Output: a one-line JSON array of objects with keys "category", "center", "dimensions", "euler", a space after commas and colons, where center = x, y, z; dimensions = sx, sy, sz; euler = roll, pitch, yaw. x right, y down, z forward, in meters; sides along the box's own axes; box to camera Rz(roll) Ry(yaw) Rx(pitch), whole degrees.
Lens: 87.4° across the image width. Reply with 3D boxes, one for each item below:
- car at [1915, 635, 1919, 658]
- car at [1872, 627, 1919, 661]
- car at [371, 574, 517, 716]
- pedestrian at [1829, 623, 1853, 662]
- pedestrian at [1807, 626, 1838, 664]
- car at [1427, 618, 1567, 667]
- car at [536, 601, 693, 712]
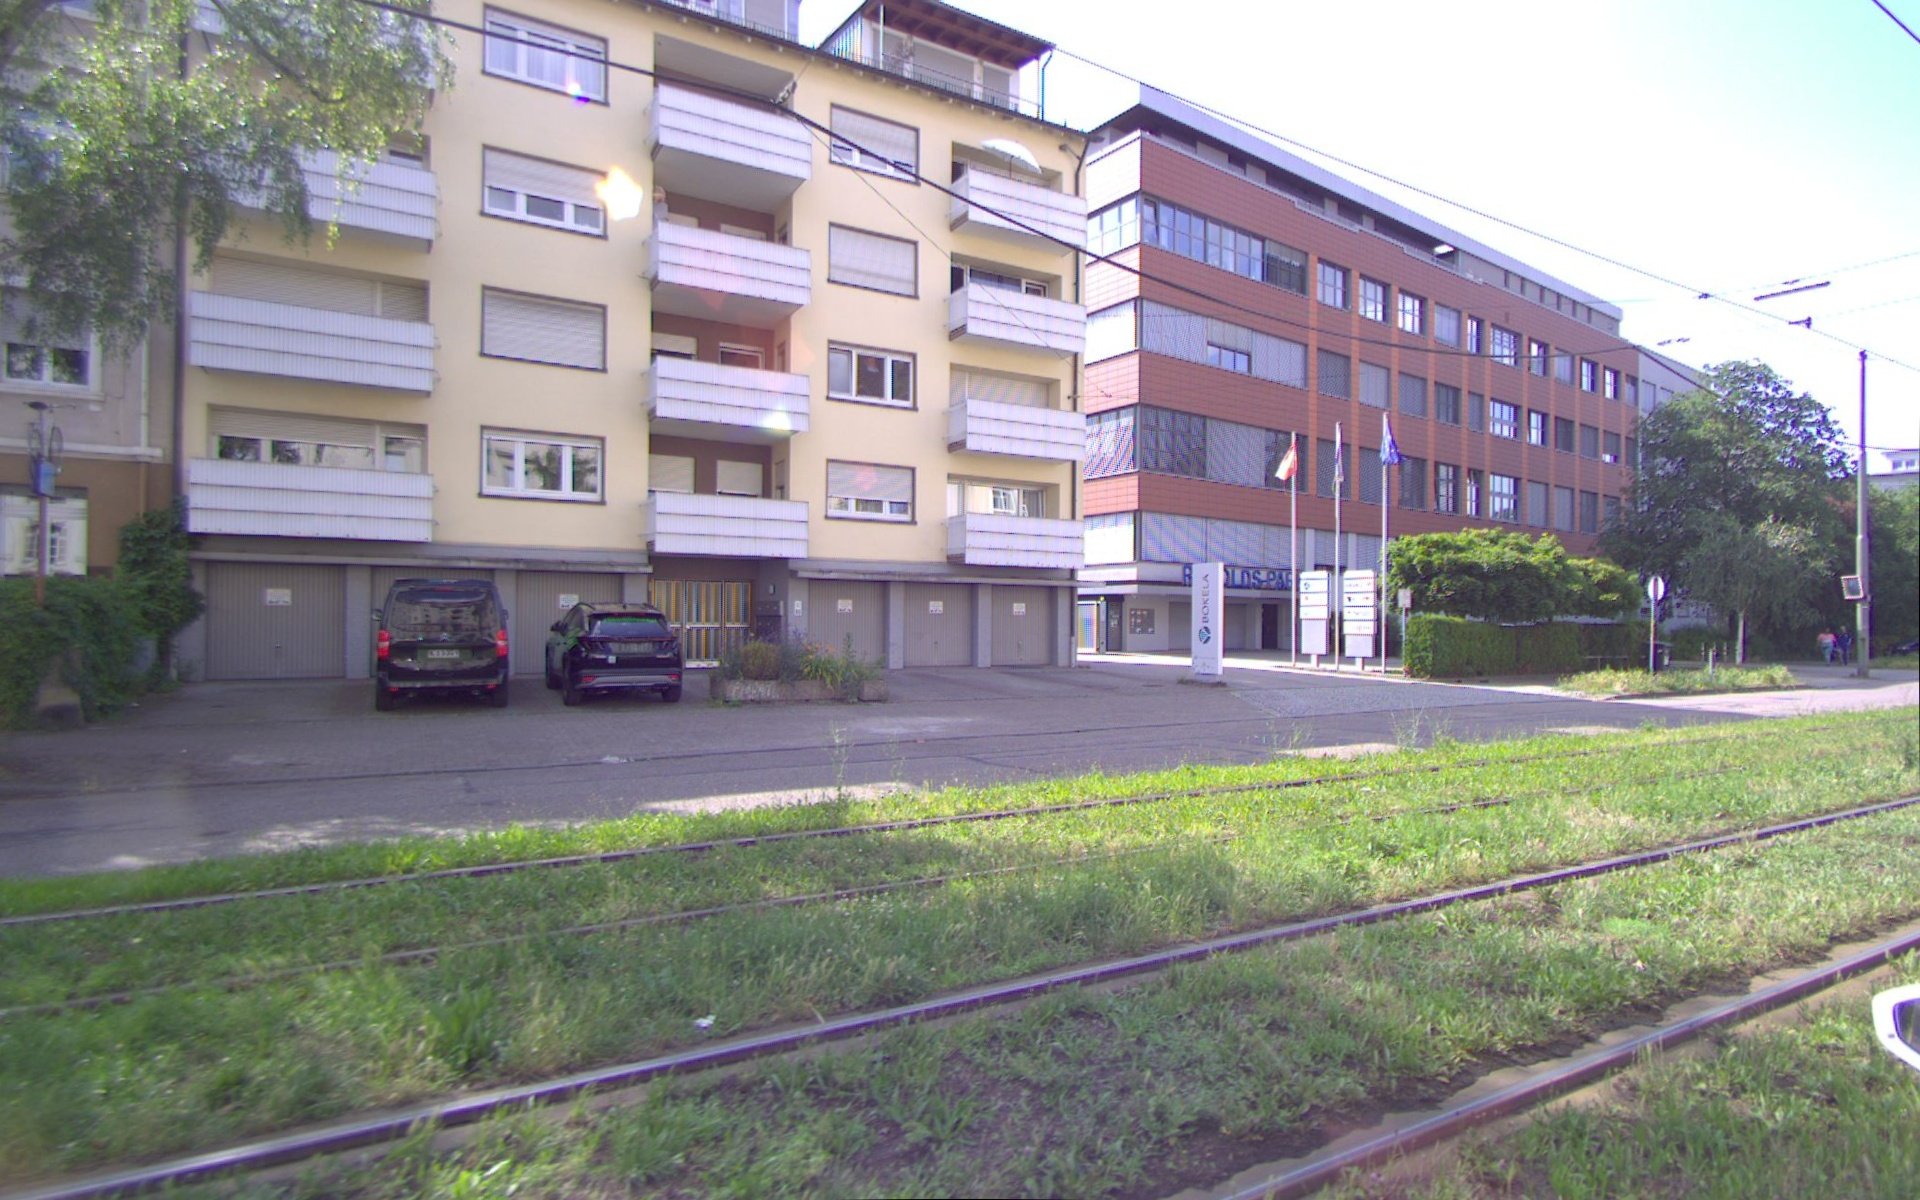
[{"category": "car", "center": [54.126, 2.526, 54.279], "dimensions": [3.321, 1.252, 1.545], "euler": [0, -1, 16]}, {"category": "car", "center": [49.397, 2.242, 51.098], "dimensions": [4.050, 1.662, 1.726], "euler": [0, -1, 16]}, {"category": "car", "center": [-8.463, 0.631, 16.676], "dimensions": [1.911, 2.041, 3.974], "euler": [1, 1, -26]}, {"category": "pedestrian", "center": [38.943, 1.871, 44.416], "dimensions": [0.737, 1.679, 0.555], "euler": [1, -1, -27]}, {"category": "pedestrian", "center": [36.974, 1.935, 43.043], "dimensions": [0.878, 1.594, 0.742], "euler": [2, -2, -27]}, {"category": "car", "center": [18.911, 1.461, 35.527], "dimensions": [1.978, 1.617, 3.965], "euler": [1, -1, -32]}, {"category": "car", "center": [-6.141, 0.887, 17.563], "dimensions": [1.949, 1.623, 3.969], "euler": [1, 1, -29]}]
